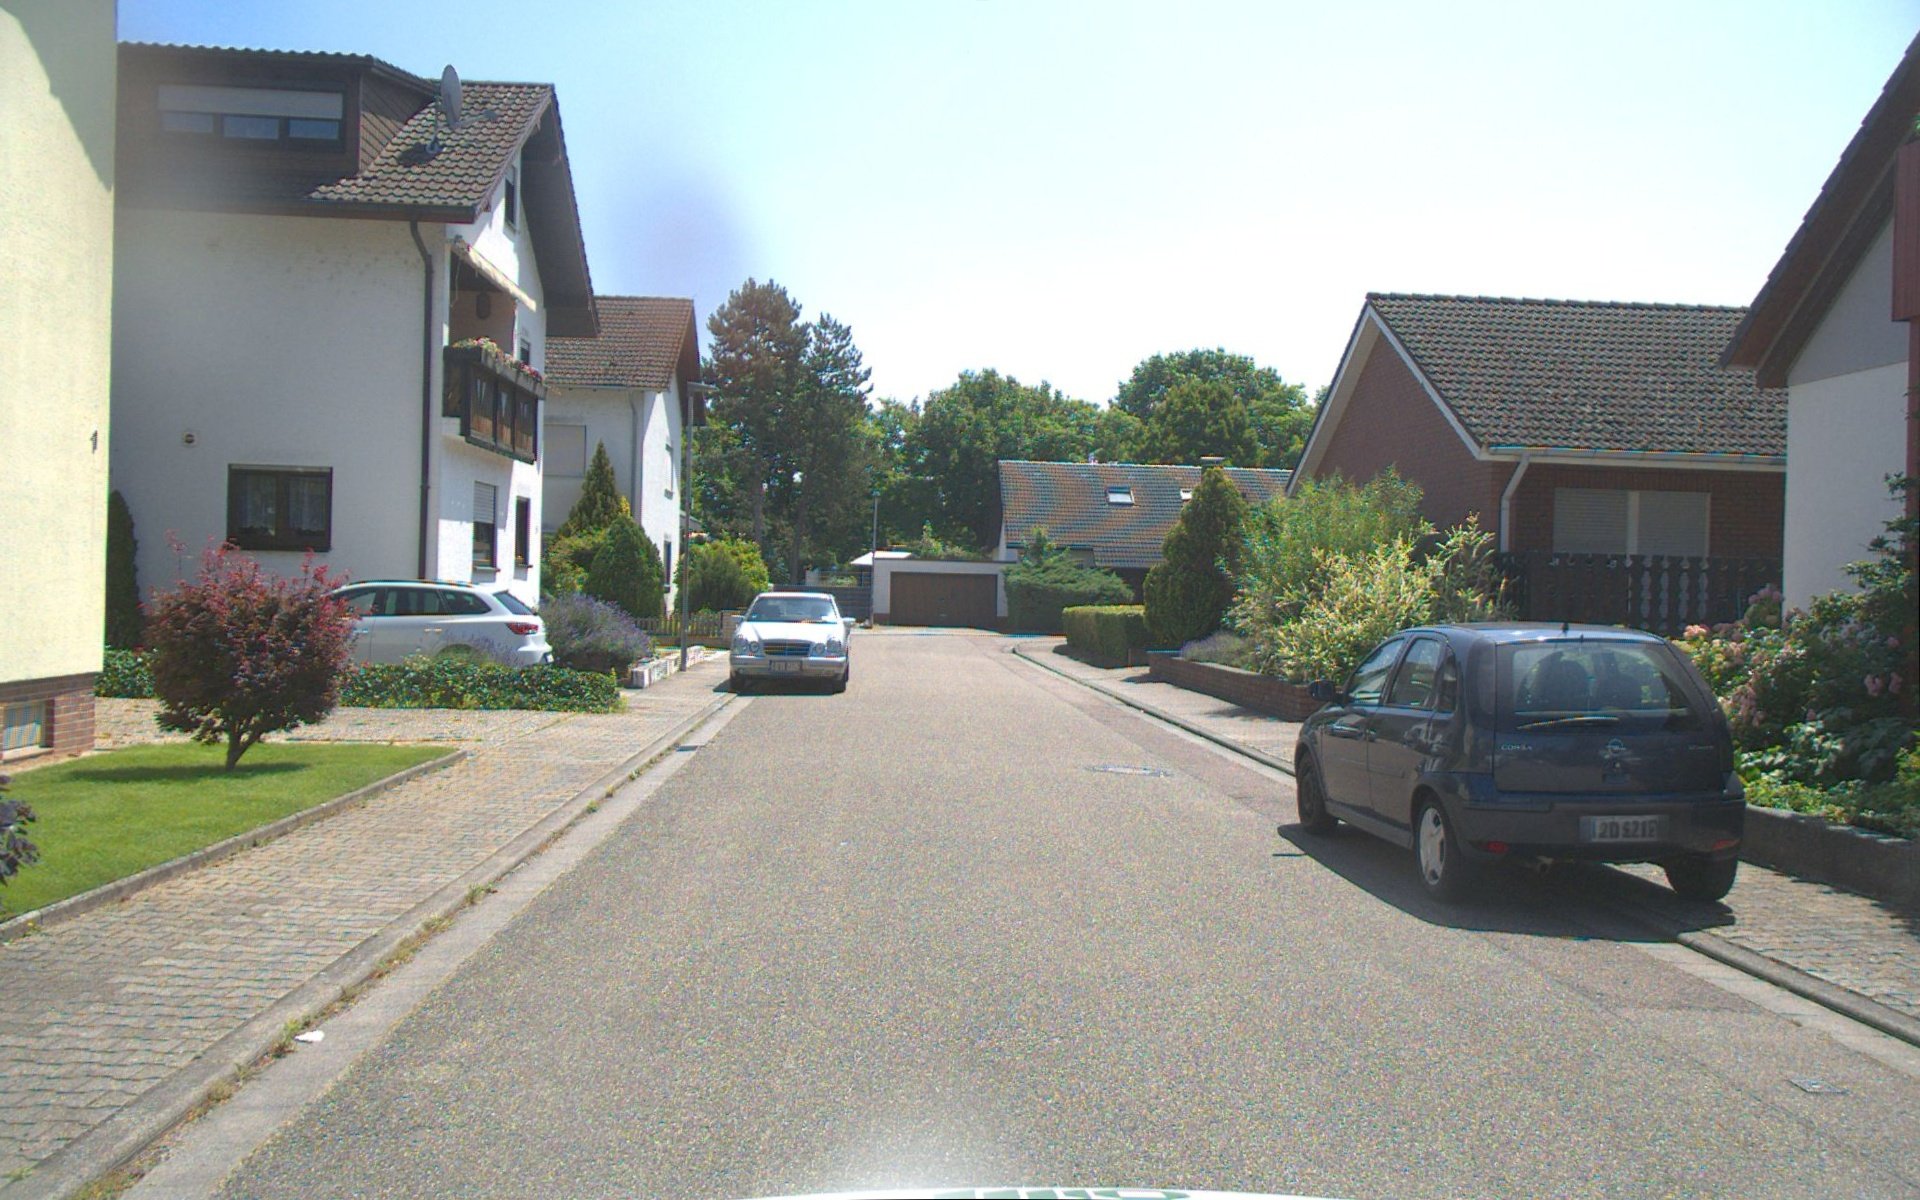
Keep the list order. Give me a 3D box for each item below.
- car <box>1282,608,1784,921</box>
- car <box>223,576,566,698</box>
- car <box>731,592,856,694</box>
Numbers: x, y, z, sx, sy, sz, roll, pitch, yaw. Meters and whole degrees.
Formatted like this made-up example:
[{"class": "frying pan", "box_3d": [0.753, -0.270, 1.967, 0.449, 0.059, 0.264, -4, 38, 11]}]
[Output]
[{"class": "car", "box_3d": [3.185, 0.824, 9.974, 1.617, 1.465, 3.650, 1, 0, -2]}, {"class": "car", "box_3d": [-7.268, 0.469, 21.606, 3.912, 1.445, 1.842, 2, 0, -9]}, {"class": "car", "box_3d": [-2.522, 0.606, 25.943, 1.665, 1.417, 4.335, 1, 0, -2]}]
